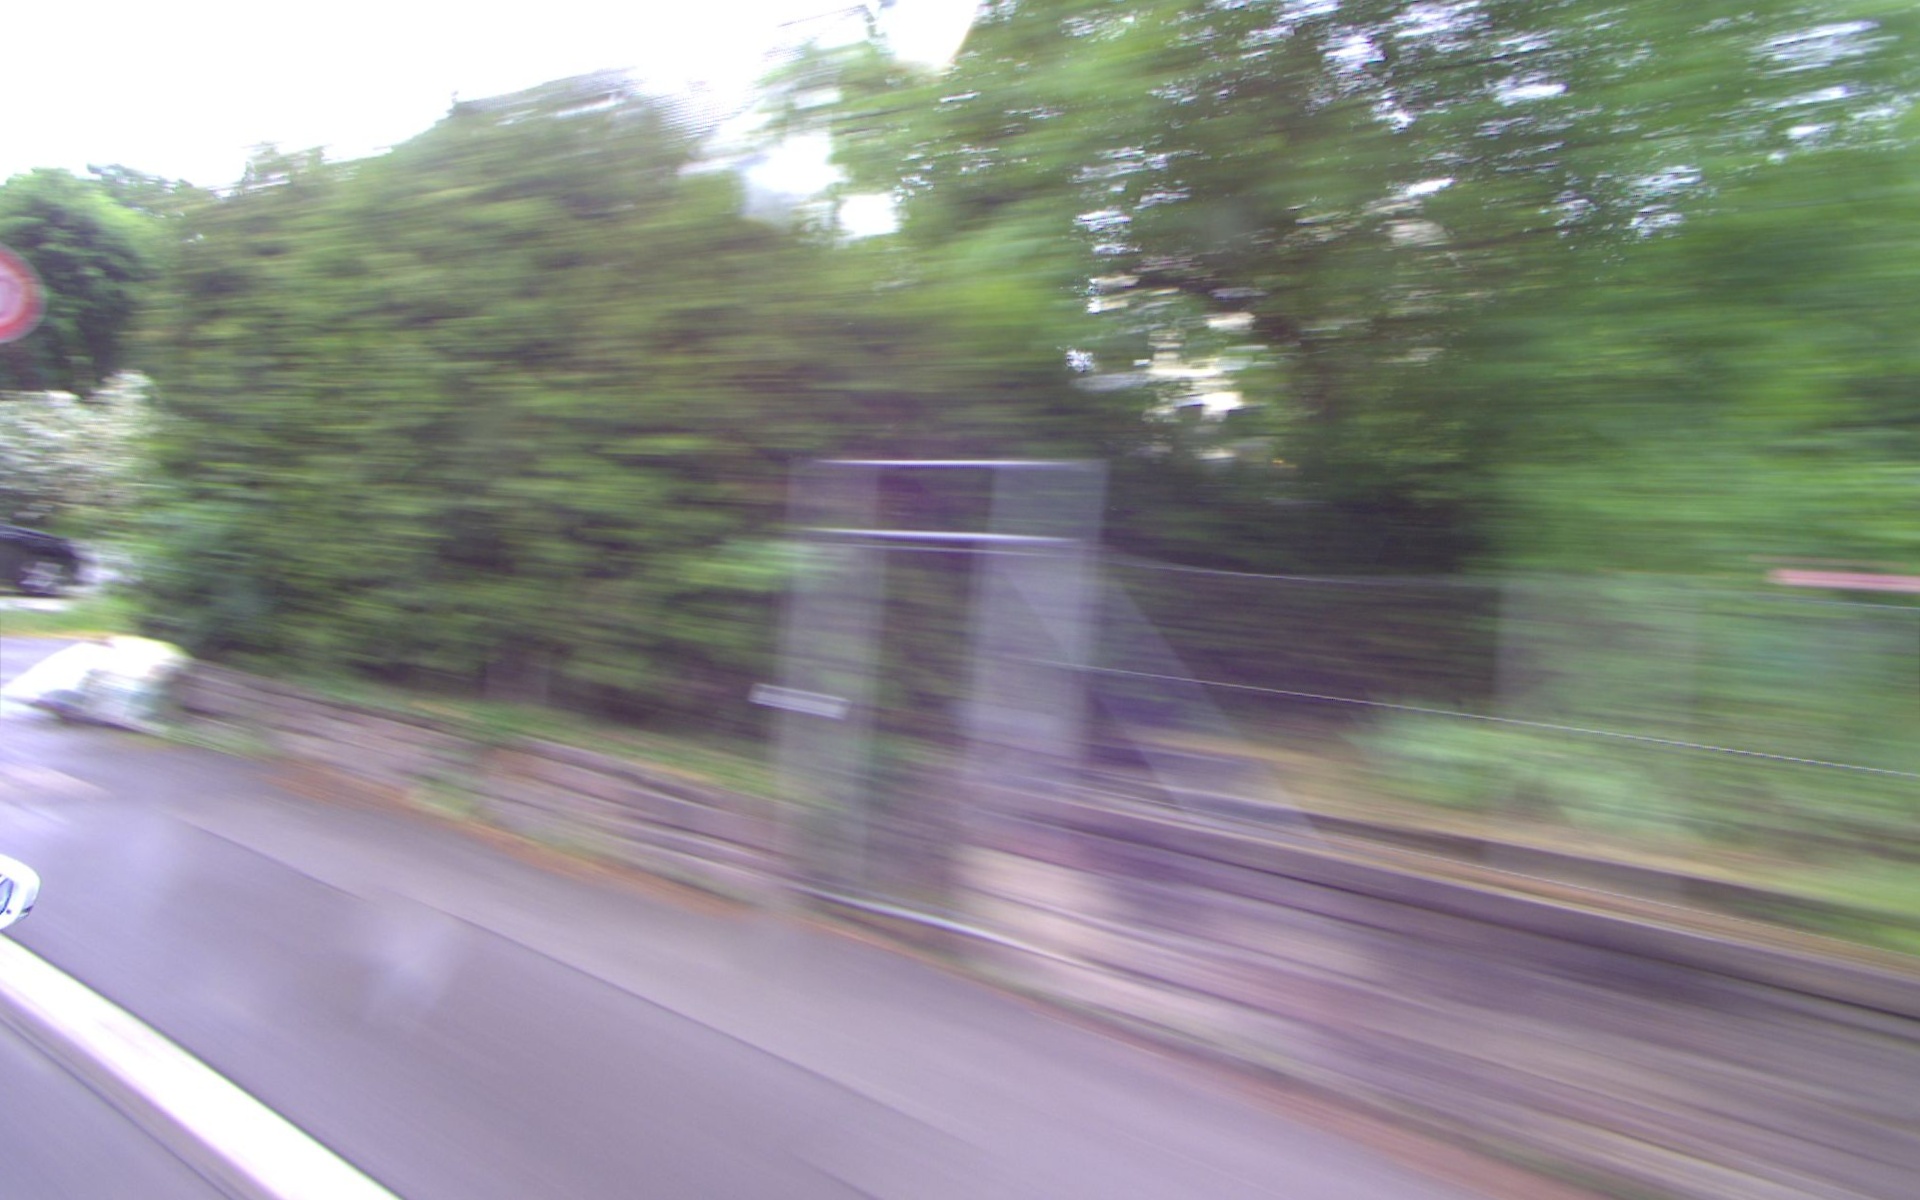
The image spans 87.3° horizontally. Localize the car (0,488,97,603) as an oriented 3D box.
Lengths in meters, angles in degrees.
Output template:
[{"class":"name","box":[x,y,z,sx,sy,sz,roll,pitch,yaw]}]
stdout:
[{"class":"car","box":[-14.267,-0.879,13.152,1.707,1.527,4.182,7,0,17]}]
